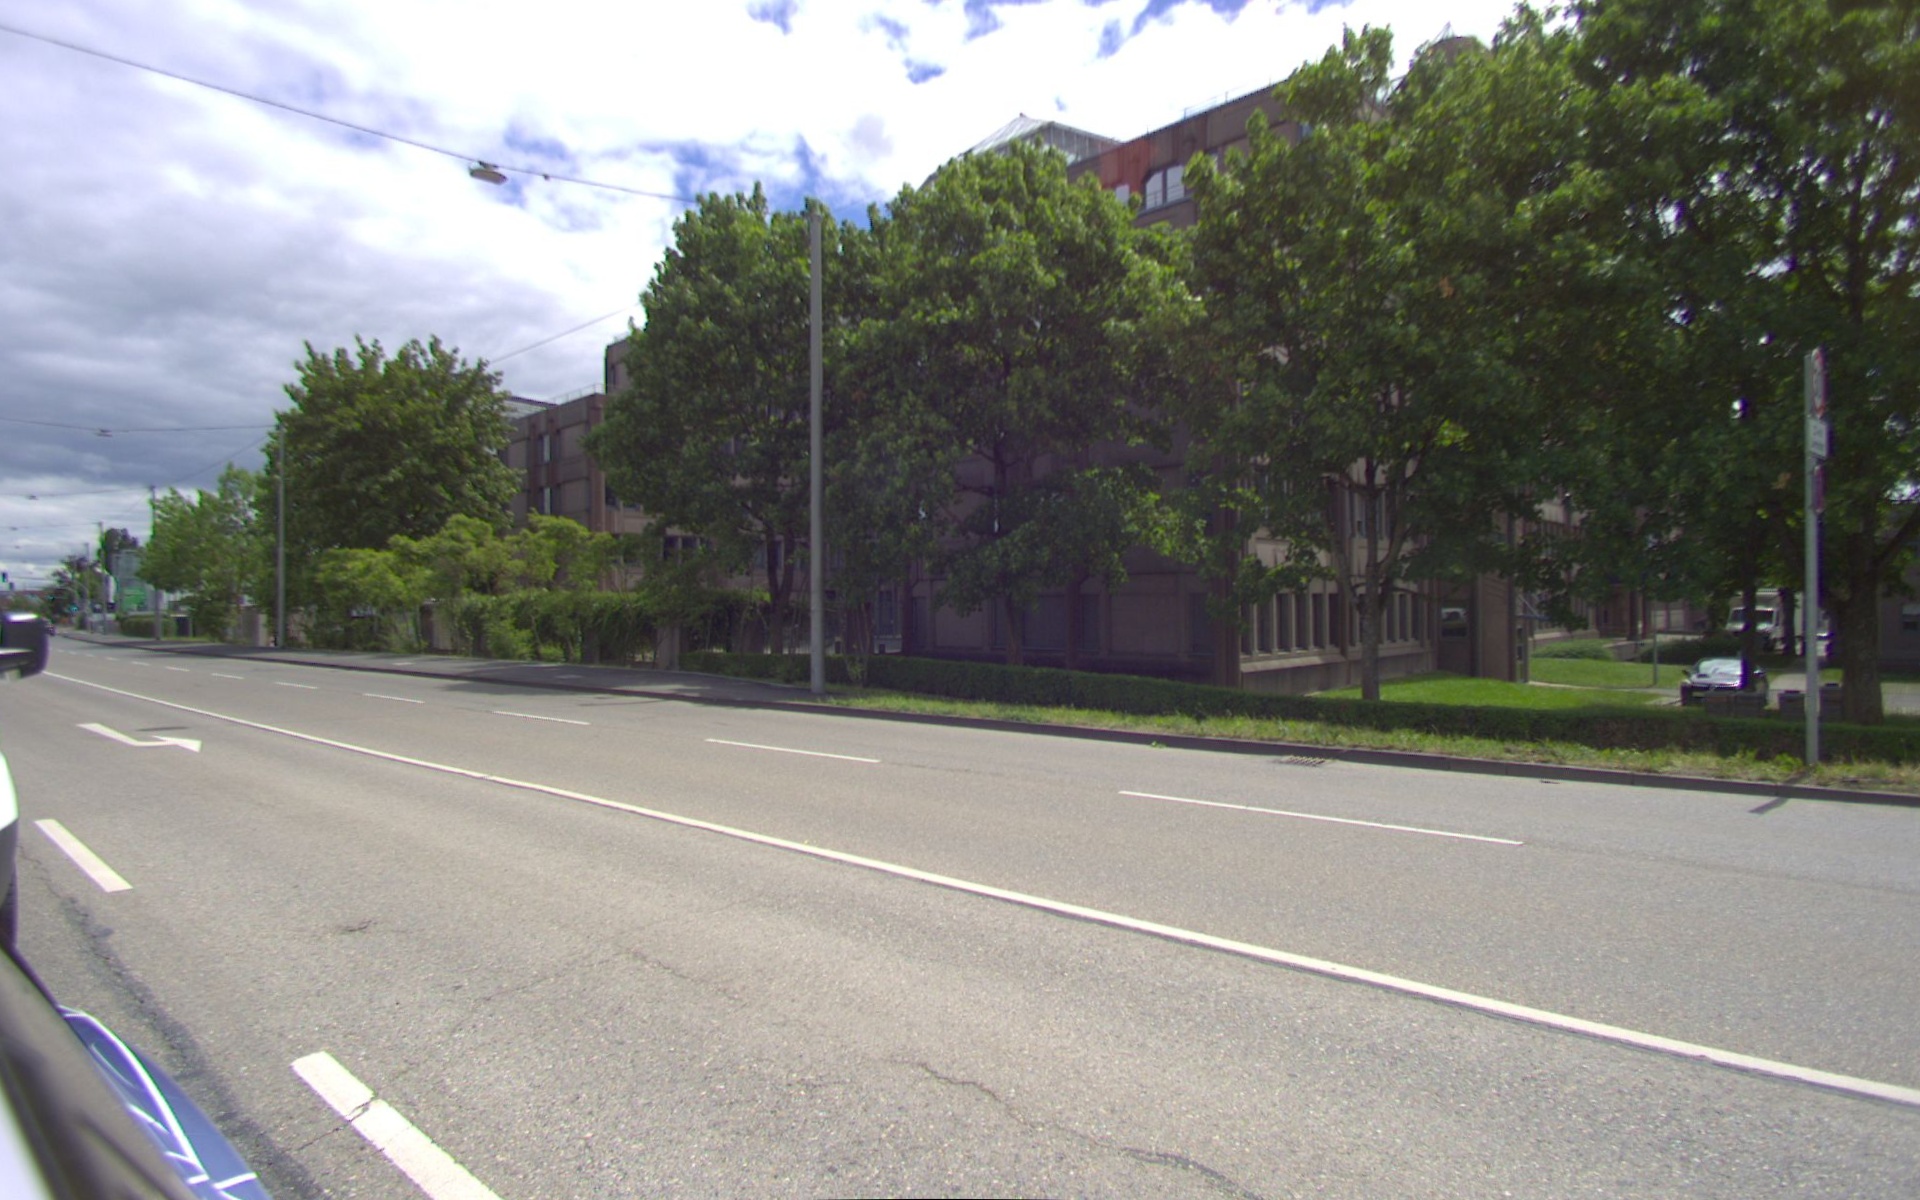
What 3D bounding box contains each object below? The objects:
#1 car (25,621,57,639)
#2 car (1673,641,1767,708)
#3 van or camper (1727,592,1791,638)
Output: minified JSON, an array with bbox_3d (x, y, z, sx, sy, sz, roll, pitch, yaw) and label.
[{"bbox_3d":[-86.869,2.793,95.665,4.572,1.627,1.847,0,-1,43],"label":"car"},{"bbox_3d":[22.202,2.103,29.510,1.787,1.741,3.943,-1,-2,43],"label":"car"},{"bbox_3d":[39.406,0.709,50.026,2.354,2.120,5.140,0,0,37],"label":"van or camper"}]
